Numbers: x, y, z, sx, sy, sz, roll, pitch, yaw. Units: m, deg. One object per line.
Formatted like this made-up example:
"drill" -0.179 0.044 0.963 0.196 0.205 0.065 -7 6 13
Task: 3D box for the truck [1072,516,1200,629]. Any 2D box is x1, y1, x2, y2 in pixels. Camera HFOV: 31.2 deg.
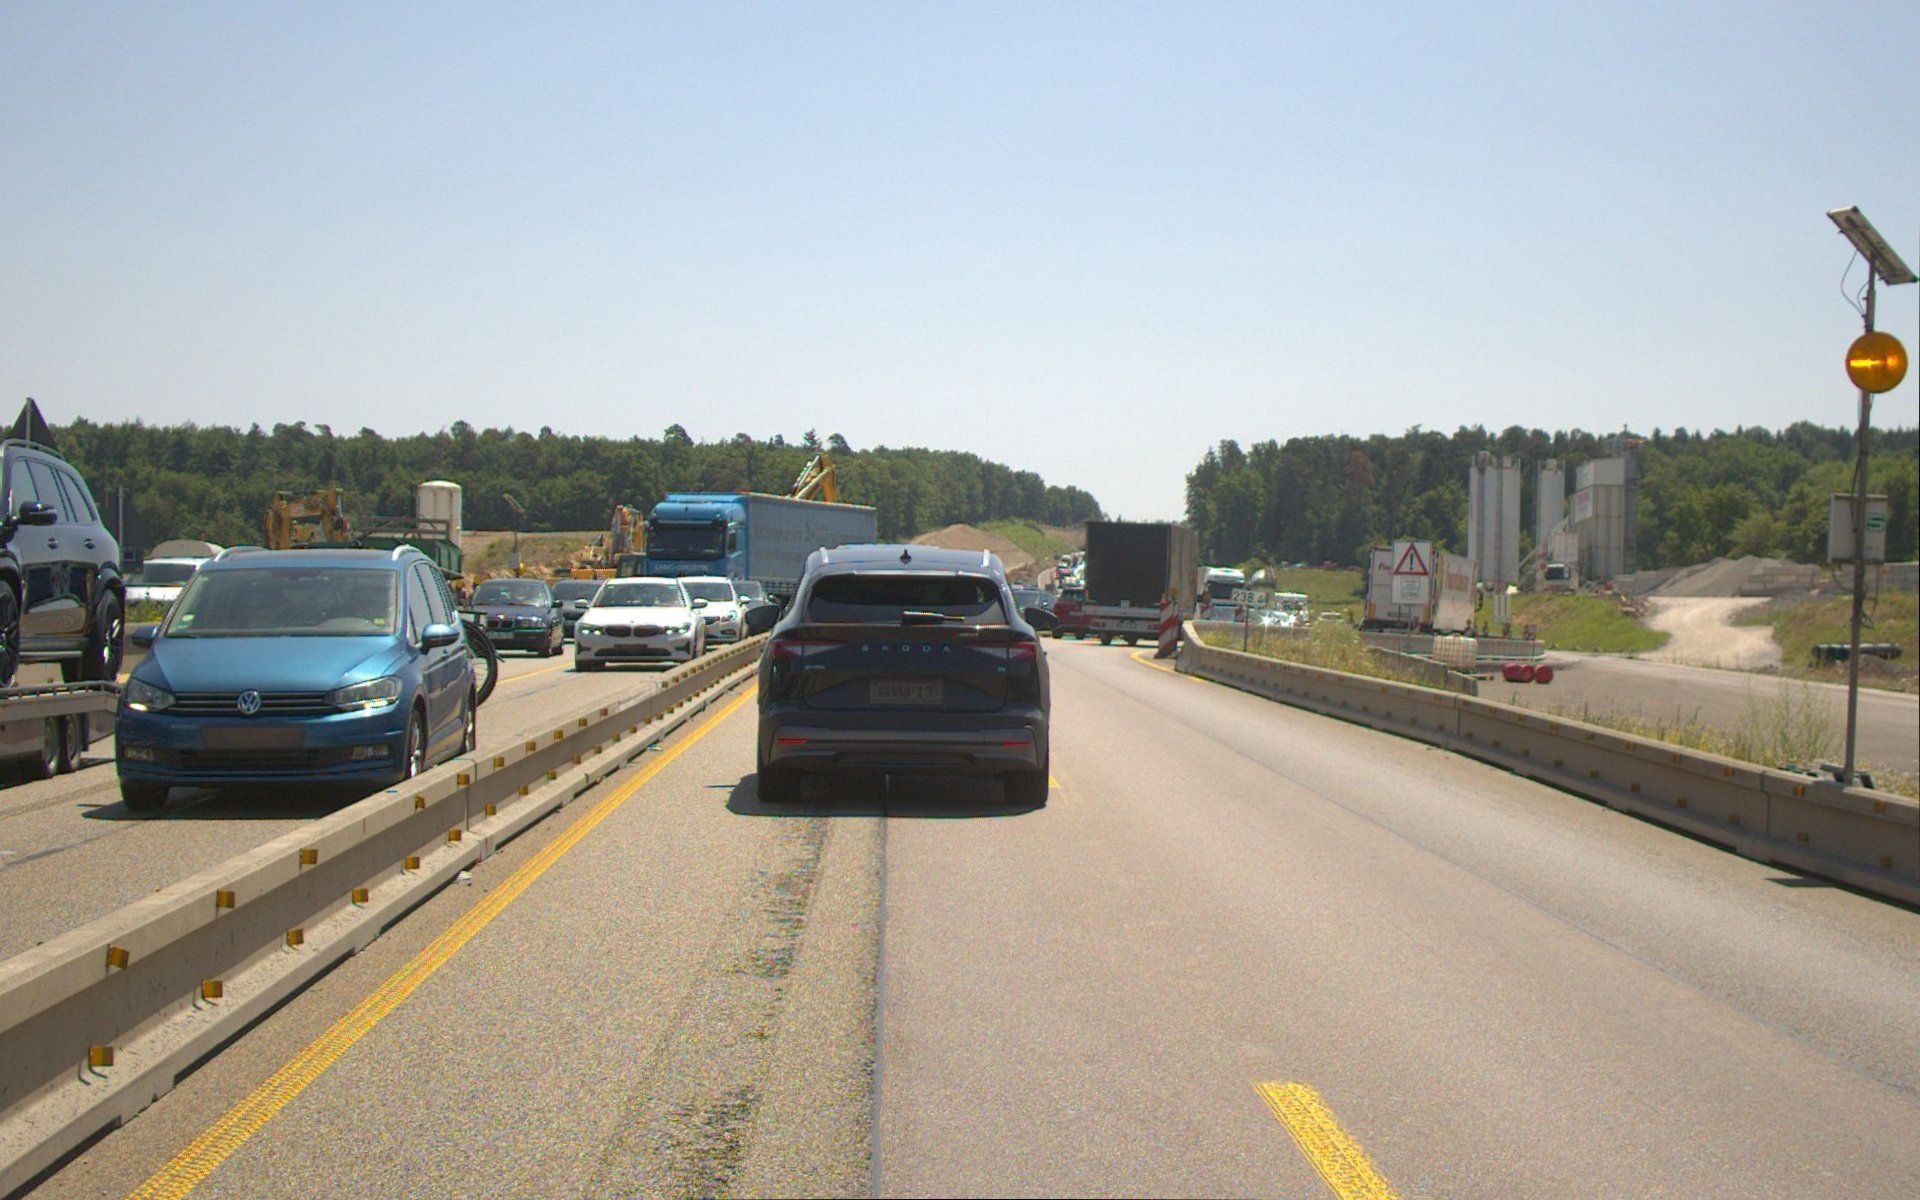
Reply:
"truck" 4.821 -0.792 93.324 2.674 2.935 5.618 1 1 11

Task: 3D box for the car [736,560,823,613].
"car" -5.039 -0.383 96.372 1.590 1.436 4.123 0 1 9

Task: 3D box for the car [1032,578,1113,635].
"car" 3.484 0.219 106.088 1.822 1.638 3.863 3 0 11

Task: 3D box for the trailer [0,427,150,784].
"trailer" -7.323 -0.006 23.837 2.181 2.306 5.614 1 1 -1

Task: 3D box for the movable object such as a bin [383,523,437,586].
"movable object such as a bin" -29.650 -2.478 185.342 2.421 3.115 5.483 5 1 -11

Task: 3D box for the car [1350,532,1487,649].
"car" 17.977 -0.300 134.200 3.440 4.087 9.188 5 1 17

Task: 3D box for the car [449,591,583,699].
"car" -7.633 0.742 59.408 1.767 1.592 4.000 5 1 -2

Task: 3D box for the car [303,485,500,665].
"car" -7.963 -0.392 49.587 1.914 2.391 6.453 -1 1 -2

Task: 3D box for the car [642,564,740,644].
"car" -5.368 0.050 69.033 1.734 1.473 4.520 0 1 -1

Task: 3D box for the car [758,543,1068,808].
"car" -0.290 0.424 22.518 1.842 1.576 4.000 0 1 0

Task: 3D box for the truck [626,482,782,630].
"truck" -7.384 -1.292 99.931 2.915 4.114 6.136 1 1 11

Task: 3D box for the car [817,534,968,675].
"car" -0.992 0.042 48.914 1.993 1.837 4.000 2 0 -2

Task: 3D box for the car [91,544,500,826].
"car" -4.173 0.469 22.213 1.904 1.603 4.000 1 1 -1

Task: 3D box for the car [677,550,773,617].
"car" -5.399 -0.399 79.364 2.016 1.439 4.588 0 2 -2

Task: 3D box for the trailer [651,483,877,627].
"trailer" -5.864 -1.415 106.352 2.916 4.114 13.907 1 1 14

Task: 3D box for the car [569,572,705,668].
"car" -4.959 0.282 53.206 1.816 1.371 4.248 0 1 -2
